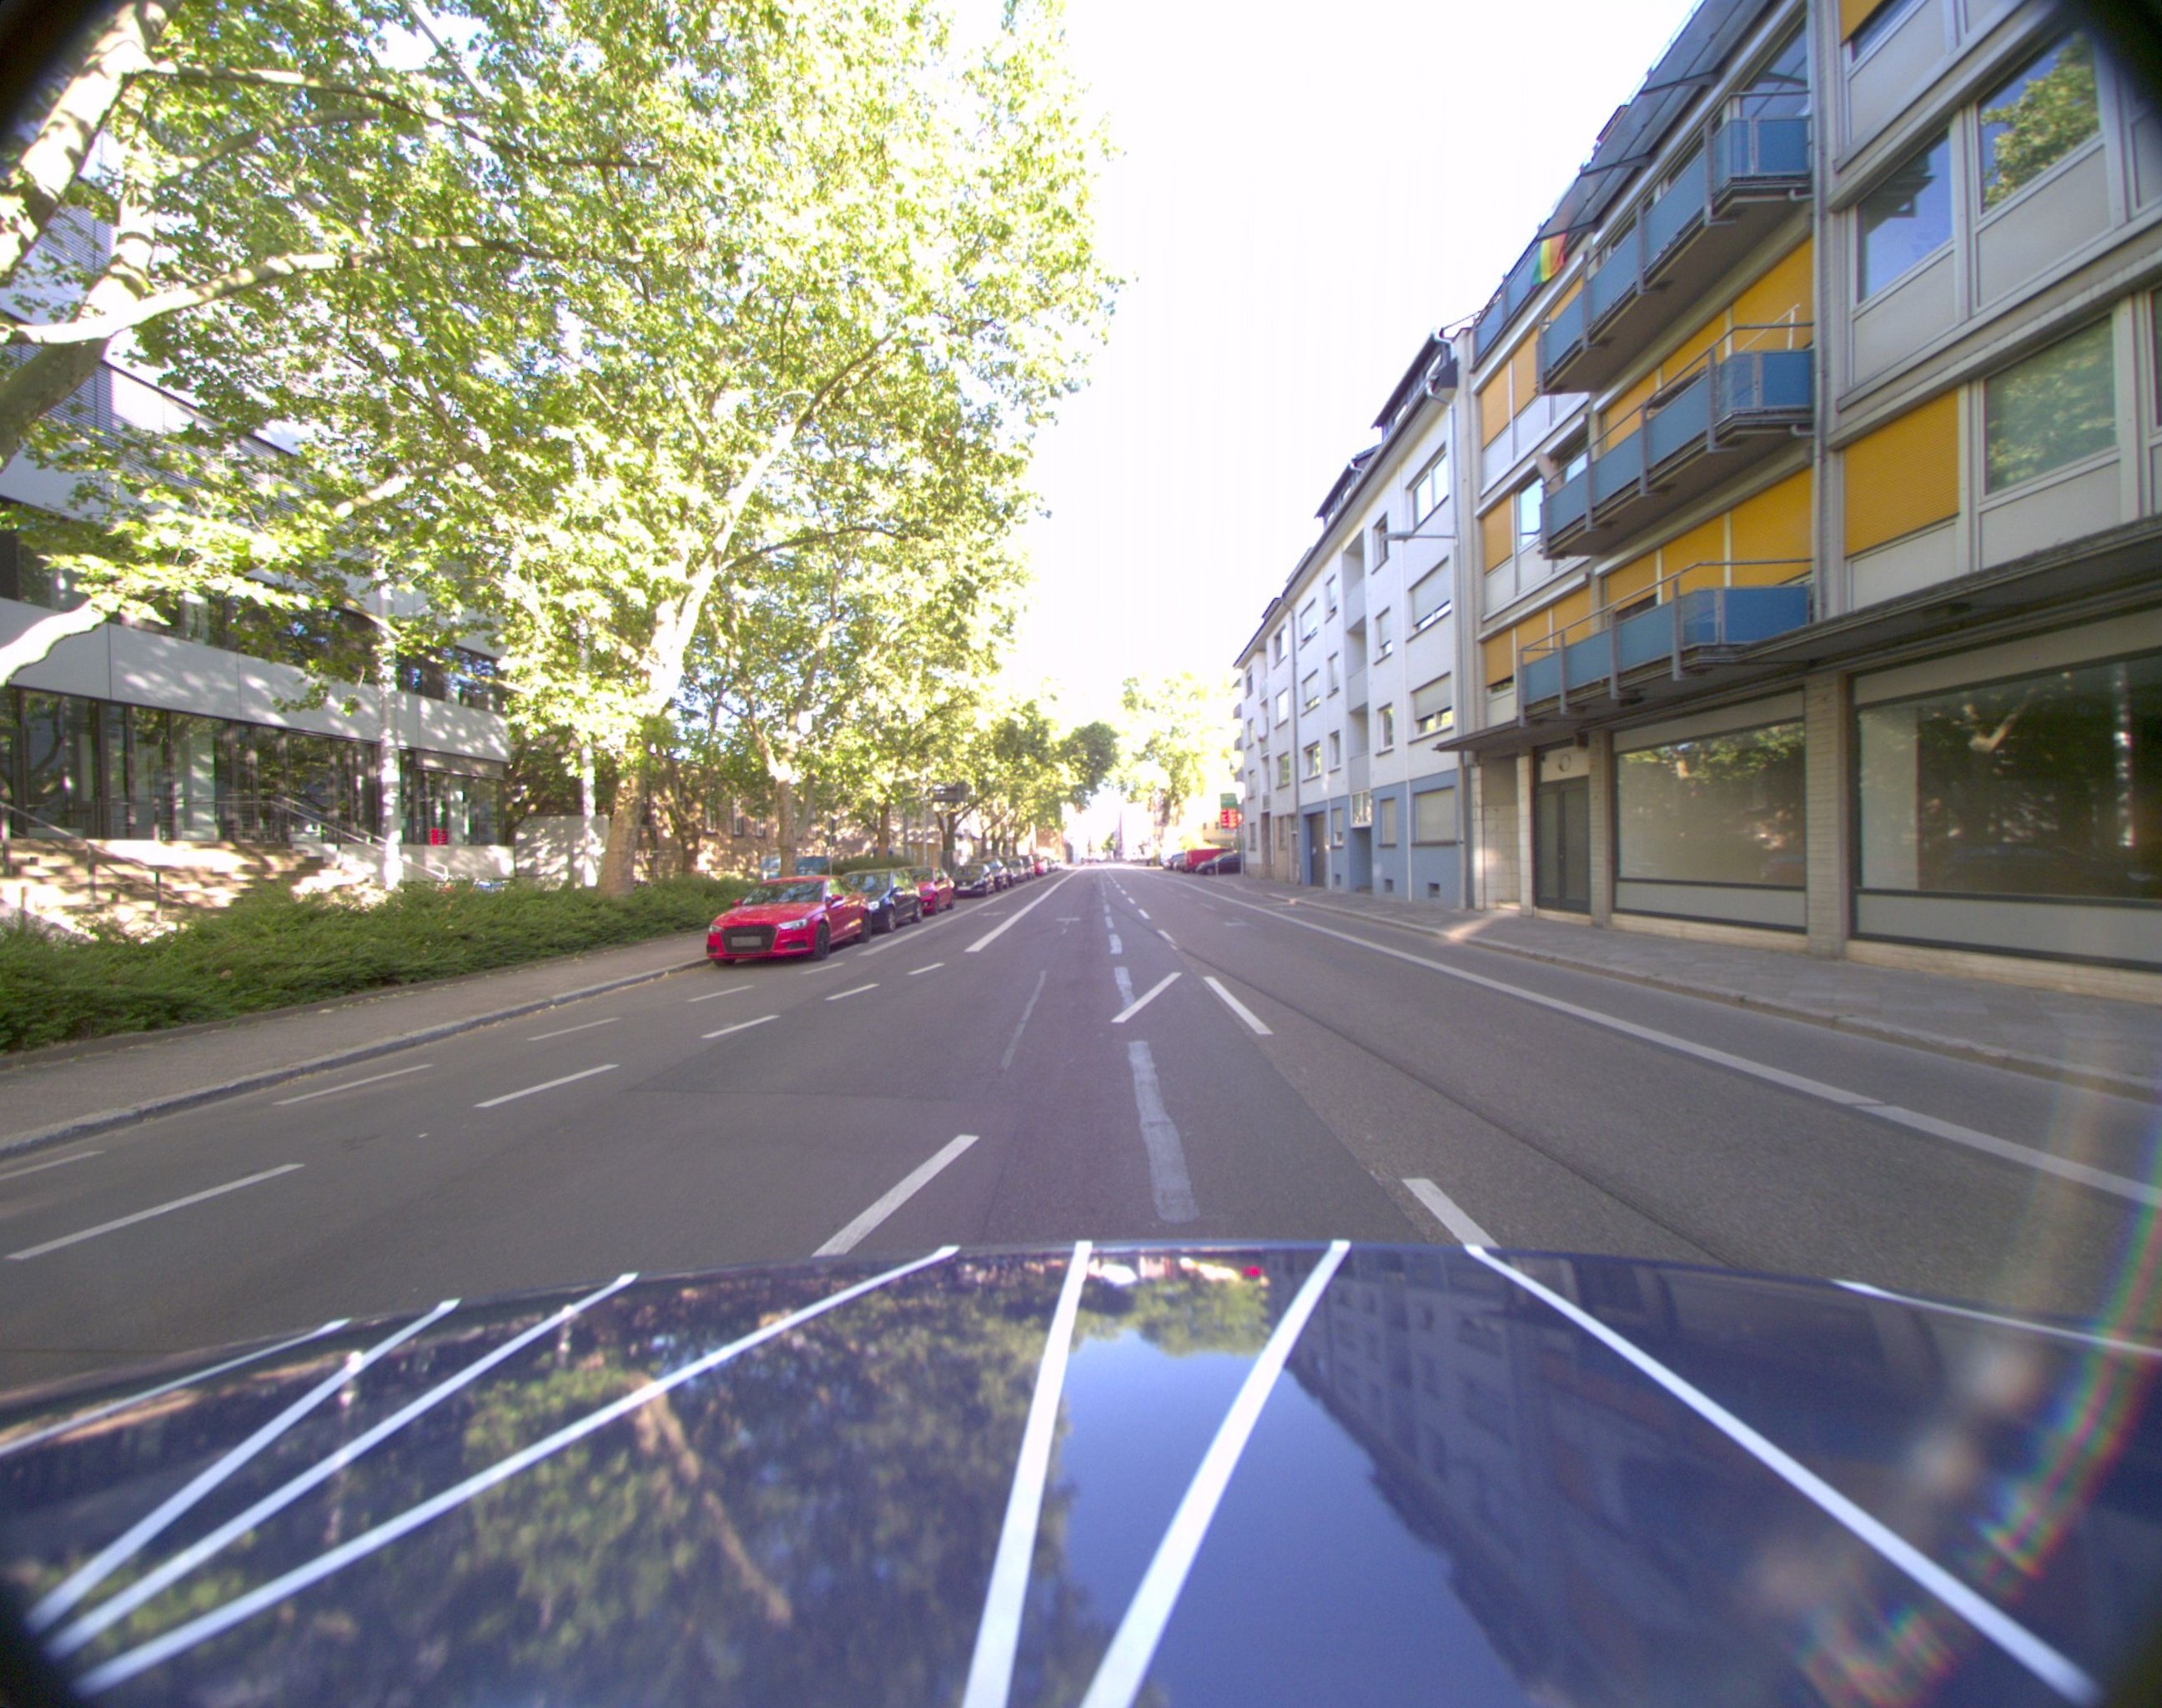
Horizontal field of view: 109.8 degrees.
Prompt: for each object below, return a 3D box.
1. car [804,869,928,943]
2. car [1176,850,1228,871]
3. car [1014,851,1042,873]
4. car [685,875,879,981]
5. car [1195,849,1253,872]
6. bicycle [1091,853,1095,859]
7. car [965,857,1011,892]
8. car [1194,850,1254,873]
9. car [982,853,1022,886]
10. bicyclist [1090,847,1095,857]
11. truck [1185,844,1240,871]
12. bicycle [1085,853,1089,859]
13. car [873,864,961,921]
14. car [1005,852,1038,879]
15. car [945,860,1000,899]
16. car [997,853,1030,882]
[{"bbox_3d":[-5.083,1.170,18.587,1.818,1.405,4.163,-3,0,0],"label":"car"},{"bbox_3d":[9.976,0.525,62.856,3.996,1.494,1.761,-2,1,2],"label":"car"},{"bbox_3d":[-4.593,0.698,66.104,2.042,1.745,4.552,-3,0,0],"label":"car"},{"bbox_3d":[-5.138,1.193,13.731,1.818,1.405,4.163,-3,0,0],"label":"car"},{"bbox_3d":[10.726,0.478,57.154,3.996,1.494,1.761,-2,1,2],"label":"car"},{"bbox_3d":[2.054,0.335,130.623,0.717,1.052,2.485,-2,1,1],"label":"bicycle"},{"bbox_3d":[-4.602,0.978,38.143,1.790,1.544,4.163,-3,0,0],"label":"car"},{"bbox_3d":[10.252,0.545,54.806,3.996,1.449,1.761,-2,1,2],"label":"car"},{"bbox_3d":[-4.525,0.868,44.160,1.790,1.745,4.345,-3,0,0],"label":"car"},{"bbox_3d":[2.020,-0.347,130.671,0.718,1.573,0.936,-2,1,1],"label":"bicyclist"},{"bbox_3d":[10.366,0.244,60.003,3.996,1.925,1.761,-2,1,2],"label":"truck"},{"bbox_3d":[1.030,0.373,130.478,0.717,1.052,2.485,-2,1,1],"label":"bicycle"},{"bbox_3d":[-5.030,1.124,23.870,1.818,1.475,4.163,-3,0,0],"label":"car"},{"bbox_3d":[-4.319,0.796,55.674,2.042,1.745,4.552,-3,0,0],"label":"car"},{"bbox_3d":[-4.703,1.077,33.397,1.790,1.451,4.163,-3,0,0],"label":"car"},{"bbox_3d":[-4.447,0.852,50.715,1.790,1.745,4.552,-3,0,0],"label":"car"}]
